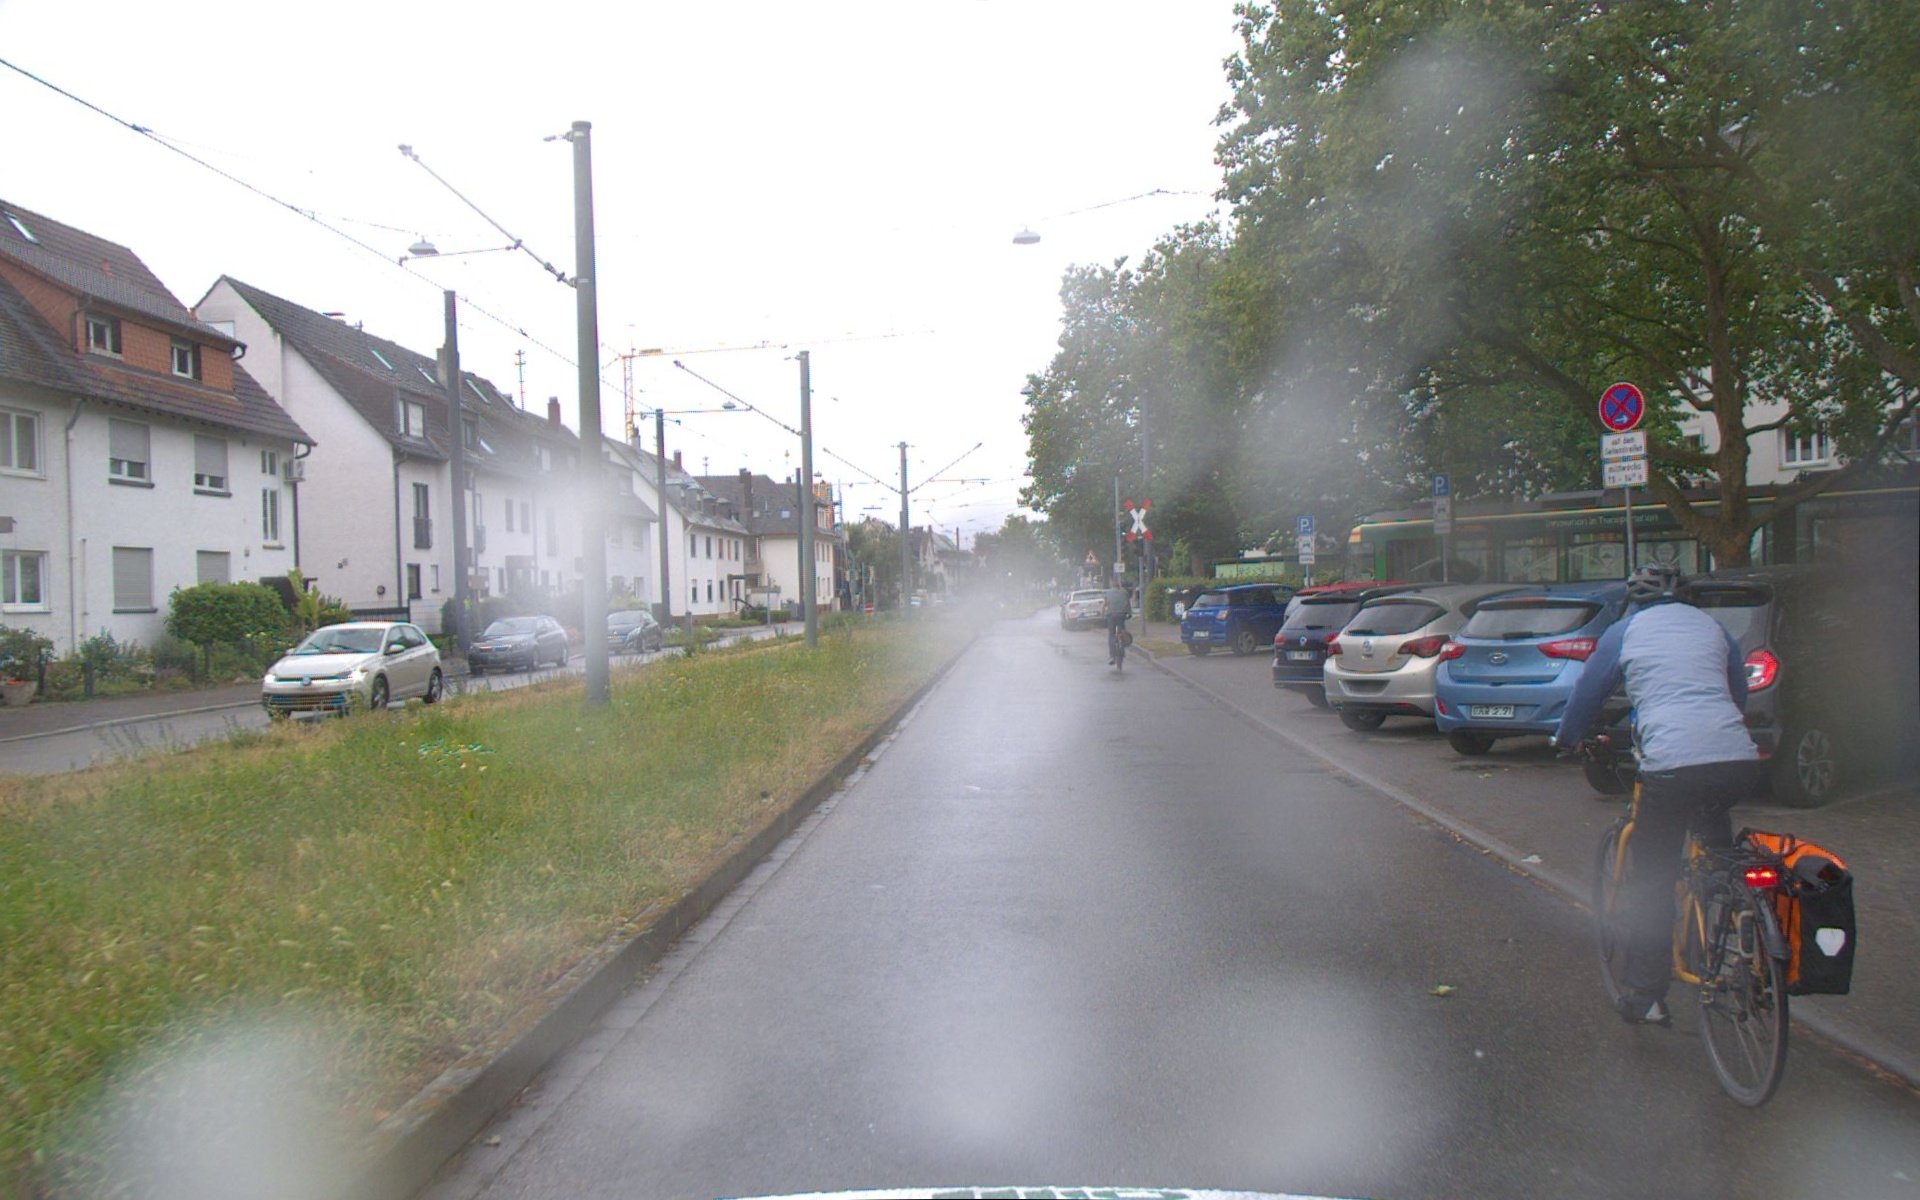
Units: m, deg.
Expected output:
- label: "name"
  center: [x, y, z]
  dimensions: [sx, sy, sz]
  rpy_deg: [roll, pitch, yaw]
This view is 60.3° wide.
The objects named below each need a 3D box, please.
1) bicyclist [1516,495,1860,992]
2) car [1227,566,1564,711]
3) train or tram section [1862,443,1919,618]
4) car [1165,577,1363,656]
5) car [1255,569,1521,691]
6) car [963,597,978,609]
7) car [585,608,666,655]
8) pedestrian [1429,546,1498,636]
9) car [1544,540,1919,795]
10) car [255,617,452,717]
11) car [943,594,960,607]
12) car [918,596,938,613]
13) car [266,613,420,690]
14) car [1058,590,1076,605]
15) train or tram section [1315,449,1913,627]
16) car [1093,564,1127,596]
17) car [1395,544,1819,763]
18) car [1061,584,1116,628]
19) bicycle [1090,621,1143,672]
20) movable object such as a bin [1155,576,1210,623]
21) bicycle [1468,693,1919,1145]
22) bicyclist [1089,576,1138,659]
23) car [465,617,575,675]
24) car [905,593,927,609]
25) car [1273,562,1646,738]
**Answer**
- label: "bicyclist"
  center: [2.394, 0.434, 5.532]
  dimensions: [0.735, 1.511, 0.846]
  rpy_deg: [-2, 1, -1]
- label: "car"
  center: [5.668, 0.452, 21.437]
  dimensions: [4.067, 1.505, 1.847]
  rpy_deg: [-4, 1, -30]
- label: "train or tram section"
  center: [25.046, -1.610, 30.762]
  dimensions: [2.690, 3.653, 14.520]
  rpy_deg: [0, -1, -40]
- label: "car"
  center: [6.735, 0.317, 36.589]
  dimensions: [3.945, 1.509, 1.980]
  rpy_deg: [-3, 2, -30]
- label: "car"
  center: [6.346, 0.420, 24.513]
  dimensions: [3.541, 1.505, 1.625]
  rpy_deg: [-4, 1, -24]
- label: "car"
  center: [1.513, 0.422, 240.102]
  dimensions: [1.952, 1.571, 4.001]
  rpy_deg: [-2, -2, 3]
- label: "car"
  center: [-11.723, 1.120, 58.249]
  dimensions: [1.838, 1.530, 4.134]
  rpy_deg: [-2, -2, 2]
- label: "pedestrian"
  center: [10.238, -0.186, 33.686]
  dimensions: [1.023, 1.744, 1.080]
  rpy_deg: [-3, 0, 2]
- label: "car"
  center: [6.145, 0.398, 12.110]
  dimensions: [3.475, 1.532, 1.734]
  rpy_deg: [-4, 0, -34]
- label: "car"
  center: [-9.654, 1.059, 26.621]
  dimensions: [1.567, 1.448, 3.821]
  rpy_deg: [-2, -2, 3]
- label: "car"
  center: [-1.101, 0.087, 214.378]
  dimensions: [1.952, 1.571, 4.001]
  rpy_deg: [-2, -2, 3]
- label: "car"
  center: [-3.672, 0.485, 188.918]
  dimensions: [1.952, 1.735, 4.001]
  rpy_deg: [-2, -2, 3]
- label: "car"
  center: [-12.769, 1.072, 34.477]
  dimensions: [1.567, 1.448, 3.944]
  rpy_deg: [-2, -2, 2]
- label: "car"
  center: [12.531, -0.287, 193.244]
  dimensions: [1.952, 1.518, 4.001]
  rpy_deg: [-2, -2, 2]
- label: "train or tram section"
  center: [15.700, -1.256, 41.869]
  dimensions: [2.690, 3.653, 14.520]
  rpy_deg: [0, -1, -40]
- label: "car"
  center: [10.363, -1.359, 114.426]
  dimensions: [1.902, 2.048, 4.000]
  rpy_deg: [-4, -1, 1]
- label: "car"
  center: [6.016, 0.435, 15.215]
  dimensions: [3.961, 1.526, 1.799]
  rpy_deg: [-6, 0, -38]
- label: "car"
  center: [5.172, 0.263, 66.885]
  dimensions: [1.914, 1.580, 4.000]
  rpy_deg: [-4, -1, 1]
- label: "bicycle"
  center: [3.054, 0.892, 32.470]
  dimensions: [0.804, 0.928, 1.985]
  rpy_deg: [-3, -1, 0]
- label: "movable object such as a bin"
  center: [8.666, -0.005, 64.479]
  dimensions: [1.527, 1.733, 1.491]
  rpy_deg: [-3, 0, -21]
- label: "bicycle"
  center: [2.409, 0.952, 5.612]
  dimensions: [0.737, 1.091, 1.927]
  rpy_deg: [-2, 1, 0]
- label: "bicyclist"
  center: [3.024, 0.347, 32.623]
  dimensions: [0.814, 1.585, 0.914]
  rpy_deg: [-3, -1, -1]
- label: "car"
  center: [-12.040, 1.271, 45.529]
  dimensions: [1.567, 1.448, 4.667]
  rpy_deg: [-2, -2, 3]
- label: "car"
  center: [-4.842, 0.105, 182.725]
  dimensions: [1.952, 1.571, 4.001]
  rpy_deg: [-2, -2, 3]
- label: "car"
  center: [5.493, 0.502, 18.030]
  dimensions: [3.961, 1.580, 1.934]
  rpy_deg: [-3, -1, -39]
